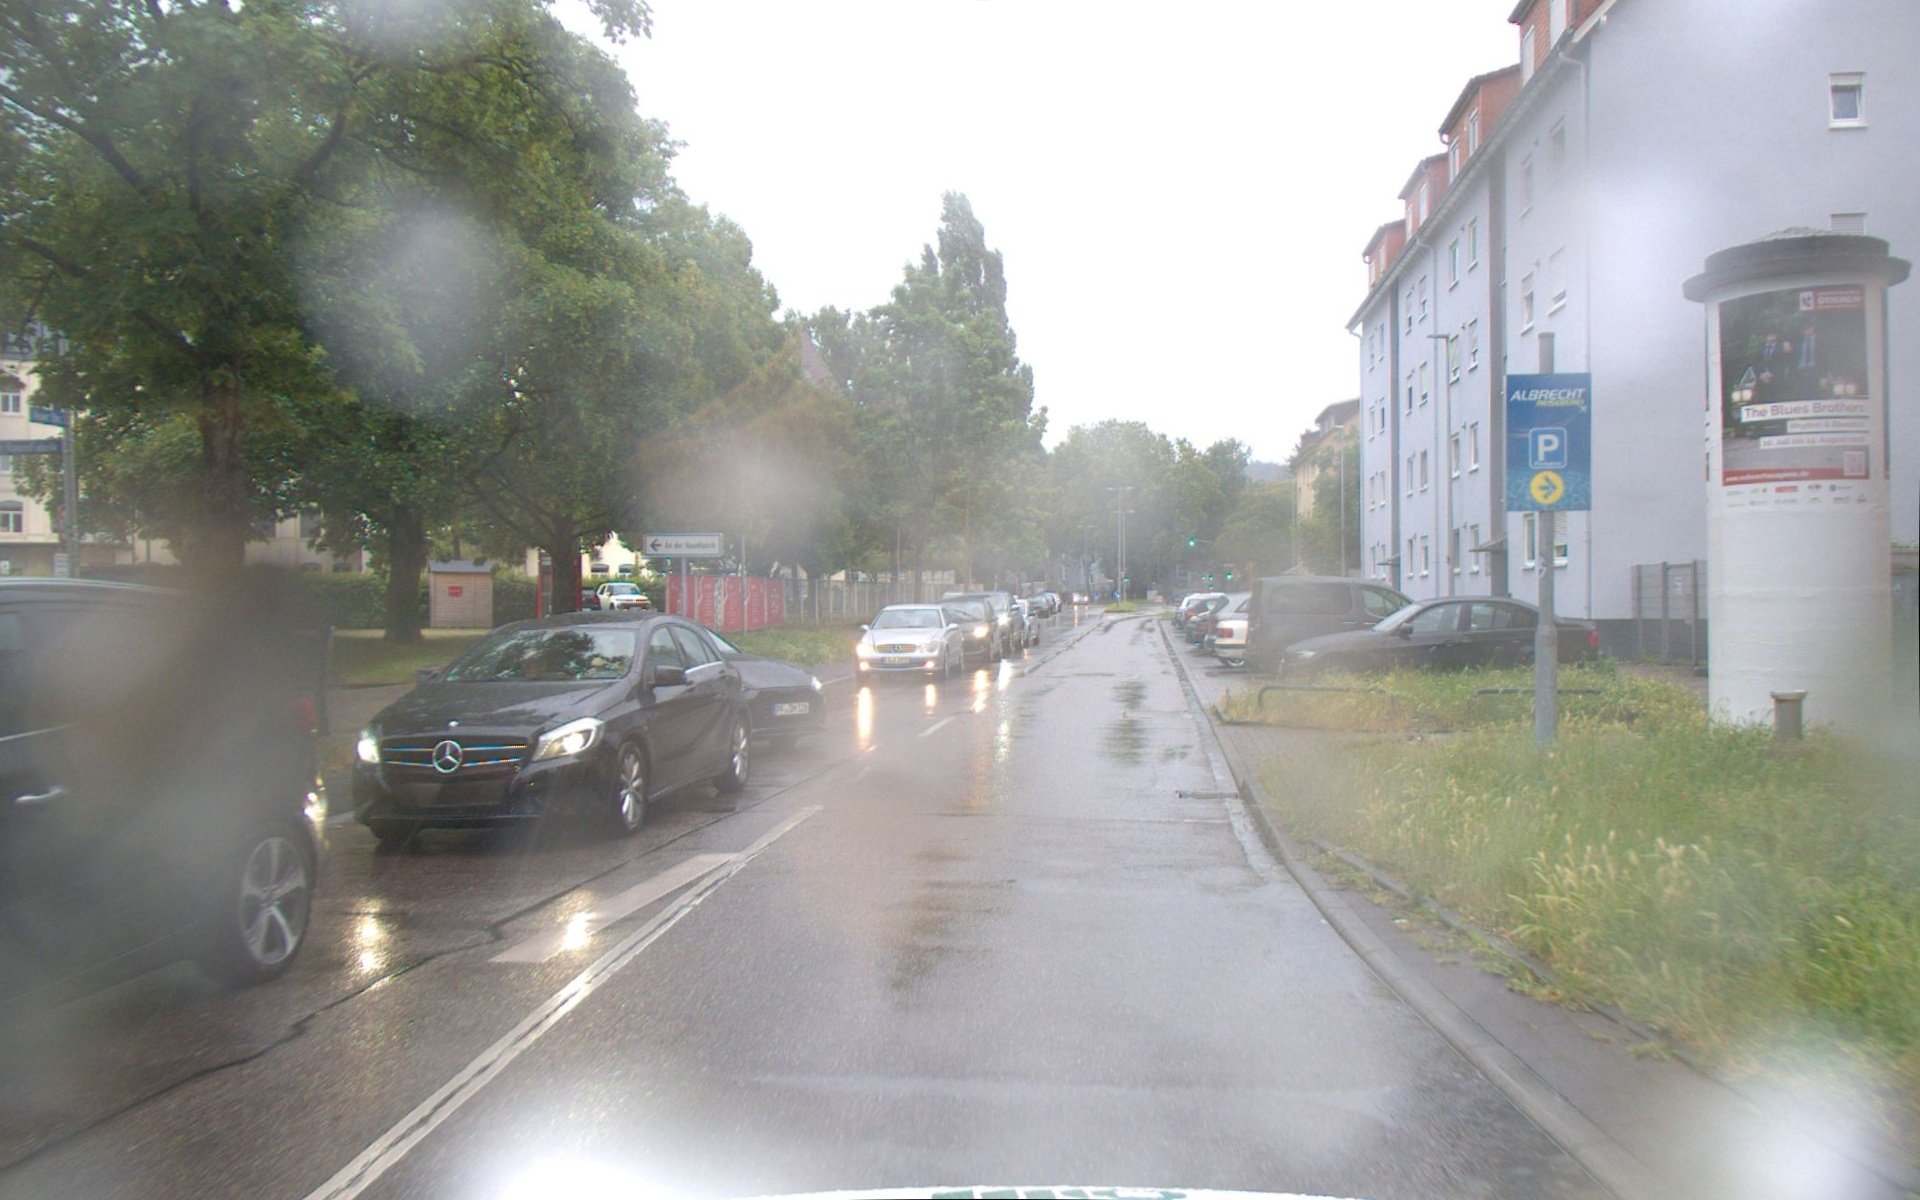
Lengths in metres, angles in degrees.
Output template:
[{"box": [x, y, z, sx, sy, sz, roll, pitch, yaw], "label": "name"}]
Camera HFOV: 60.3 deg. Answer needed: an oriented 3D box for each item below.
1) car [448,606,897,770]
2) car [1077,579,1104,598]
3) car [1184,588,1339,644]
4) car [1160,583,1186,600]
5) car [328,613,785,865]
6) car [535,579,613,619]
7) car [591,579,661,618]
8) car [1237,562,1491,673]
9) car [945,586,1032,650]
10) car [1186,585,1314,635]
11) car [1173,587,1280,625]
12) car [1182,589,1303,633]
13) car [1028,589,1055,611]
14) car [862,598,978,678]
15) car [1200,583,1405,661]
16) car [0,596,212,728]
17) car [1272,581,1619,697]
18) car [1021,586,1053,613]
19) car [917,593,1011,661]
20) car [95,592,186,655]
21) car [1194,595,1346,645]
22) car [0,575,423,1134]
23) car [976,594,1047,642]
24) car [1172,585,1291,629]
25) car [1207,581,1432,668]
[{"box": [-3.174, 0.840, 17.728, 4.834, 1.479, 2.076, -1, 1, 39], "label": "car"}, {"box": [14.601, -1.295, 185.024, 1.959, 2.049, 3.987, -1, 1, -13], "label": "car"}, {"box": [8.198, 0.420, 45.323, 4.055, 1.512, 2.014, 0, 0, 6], "label": "car"}, {"box": [20.583, -0.831, 159.949, 1.812, 1.551, 3.998, -1, 0, -3], "label": "car"}, {"box": [-2.642, 0.852, 11.981, 1.690, 1.385, 4.341, -2, 1, 8], "label": "car"}, {"box": [-16.009, -0.027, 68.465, 1.974, 1.585, 3.956, -1, -1, -32], "label": "car"}, {"box": [-14.086, -0.044, 69.668, 1.824, 1.600, 3.961, 0, -1, -29], "label": "car"}, {"box": [7.238, 0.306, 29.959, 4.143, 1.836, 1.945, -2, 0, 3], "label": "car"}, {"box": [0.865, 0.465, 46.074, 1.873, 1.668, 4.825, 0, 0, 8], "label": "car"}, {"box": [9.289, 0.304, 53.147, 3.903, 1.579, 1.854, 0, 0, 5], "label": "car"}, {"box": [10.715, 0.232, 66.397, 4.178, 1.479, 1.986, 0, 1, 12], "label": "car"}, {"box": [9.488, 0.362, 55.753, 3.902, 1.467, 1.783, 0, 0, 6], "label": "car"}, {"box": [5.859, -0.038, 118.287, 1.888, 1.510, 4.002, -1, 0, 3], "label": "car"}, {"box": [-0.698, 0.674, 32.109, 1.737, 1.428, 4.833, 0, 0, 5], "label": "car"}, {"box": [7.215, 0.448, 35.162, 4.093, 1.599, 1.891, 0, 0, 5], "label": "car"}, {"box": [-10.874, 0.673, 18.805, 4.269, 1.419, 1.998, 1, 0, -24], "label": "car"}, {"box": [6.770, 0.543, 23.520, 4.437, 1.496, 1.985, -1, 0, 6], "label": "car"}, {"box": [4.795, -0.038, 103.500, 1.739, 1.556, 4.000, 0, 2, -1], "label": "car"}, {"box": [0.159, 0.602, 39.261, 1.741, 1.445, 4.268, -1, 1, 6], "label": "car"}, {"box": [-22.625, 0.615, 45.773, 1.770, 1.611, 3.977, -1, 0, -20], "label": "car"}, {"box": [7.974, 0.506, 42.789, 3.772, 1.229, 1.957, -1, 0, 8], "label": "car"}, {"box": [-3.699, 0.774, 5.369, 1.827, 1.648, 4.806, -1, -1, 7], "label": "car"}, {"box": [1.661, 0.544, 52.068, 1.636, 1.407, 4.256, -1, 0, 10], "label": "car"}, {"box": [10.047, 0.253, 61.474, 4.249, 1.579, 2.041, 0, 0, 6], "label": "car"}, {"box": [7.002, 0.473, 32.555, 4.101, 1.596, 1.890, -1, 0, 5], "label": "car"}]
